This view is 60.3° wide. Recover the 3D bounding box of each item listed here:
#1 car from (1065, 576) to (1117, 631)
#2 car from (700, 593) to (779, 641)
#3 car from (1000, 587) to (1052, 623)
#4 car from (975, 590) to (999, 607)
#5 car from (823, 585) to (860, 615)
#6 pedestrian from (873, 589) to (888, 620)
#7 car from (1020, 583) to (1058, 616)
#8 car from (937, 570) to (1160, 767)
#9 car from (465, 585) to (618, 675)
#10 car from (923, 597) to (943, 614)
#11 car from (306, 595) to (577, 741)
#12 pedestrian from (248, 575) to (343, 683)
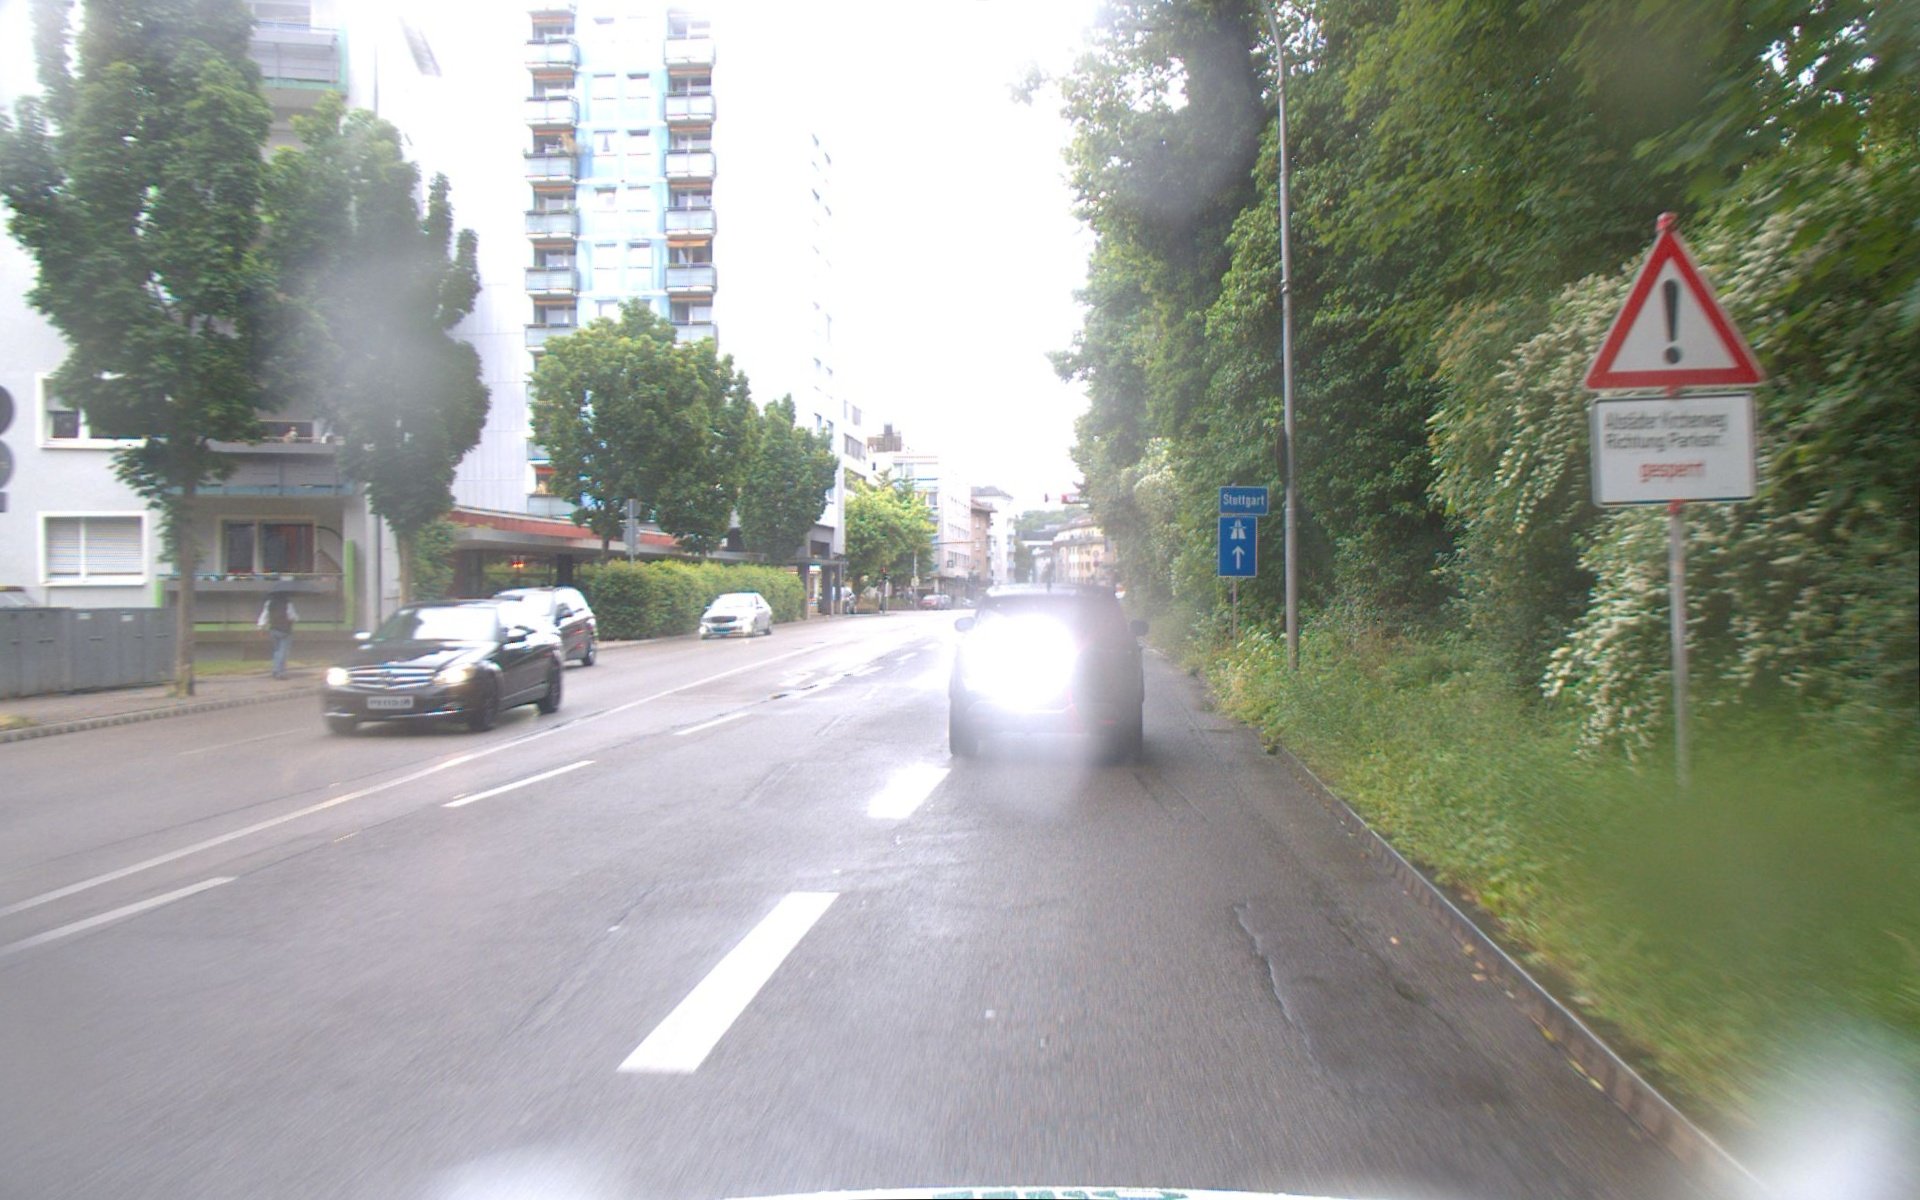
[{"bbox_3d":[5.154,0.111,64.963,1.951,2.049,4.003,-1,0,5],"label":"car"},{"bbox_3d":[-7.149,0.519,54.086,1.835,1.415,4.627,-2,1,1],"label":"car"},{"bbox_3d":[2.922,0.187,72.467,2.022,1.489,4.589,-1,1,5],"label":"car"},{"bbox_3d":[2.483,-0.103,150.989,1.954,1.478,3.998,-1,1,-3],"label":"car"},{"bbox_3d":[-6.922,-0.004,96.957,1.507,1.735,4.290,0,0,5],"label":"car"},{"bbox_3d":[-5.356,0.275,111.821,0.922,2.049,0.886,-2,0,-4],"label":"pedestrian"},{"bbox_3d":[3.890,-0.039,80.573,1.707,1.513,4.164,-1,0,4],"label":"car"},{"bbox_3d":[0.867,0.565,16.381,1.918,1.681,4.002,-1,1,3],"label":"car"},{"bbox_3d":[-8.355,0.544,33.428,1.835,1.630,4.465,-2,1,1],"label":"car"},{"bbox_3d":[-2.518,0.545,154.826,1.638,1.504,3.609,-2,0,3],"label":"car"},{"bbox_3d":[-5.853,0.696,19.251,1.804,1.409,4.359,-2,1,-1],"label":"car"},{"bbox_3d":[-11.584,0.488,28.890,1.111,1.835,1.263,-1,0,1],"label":"pedestrian"}]
